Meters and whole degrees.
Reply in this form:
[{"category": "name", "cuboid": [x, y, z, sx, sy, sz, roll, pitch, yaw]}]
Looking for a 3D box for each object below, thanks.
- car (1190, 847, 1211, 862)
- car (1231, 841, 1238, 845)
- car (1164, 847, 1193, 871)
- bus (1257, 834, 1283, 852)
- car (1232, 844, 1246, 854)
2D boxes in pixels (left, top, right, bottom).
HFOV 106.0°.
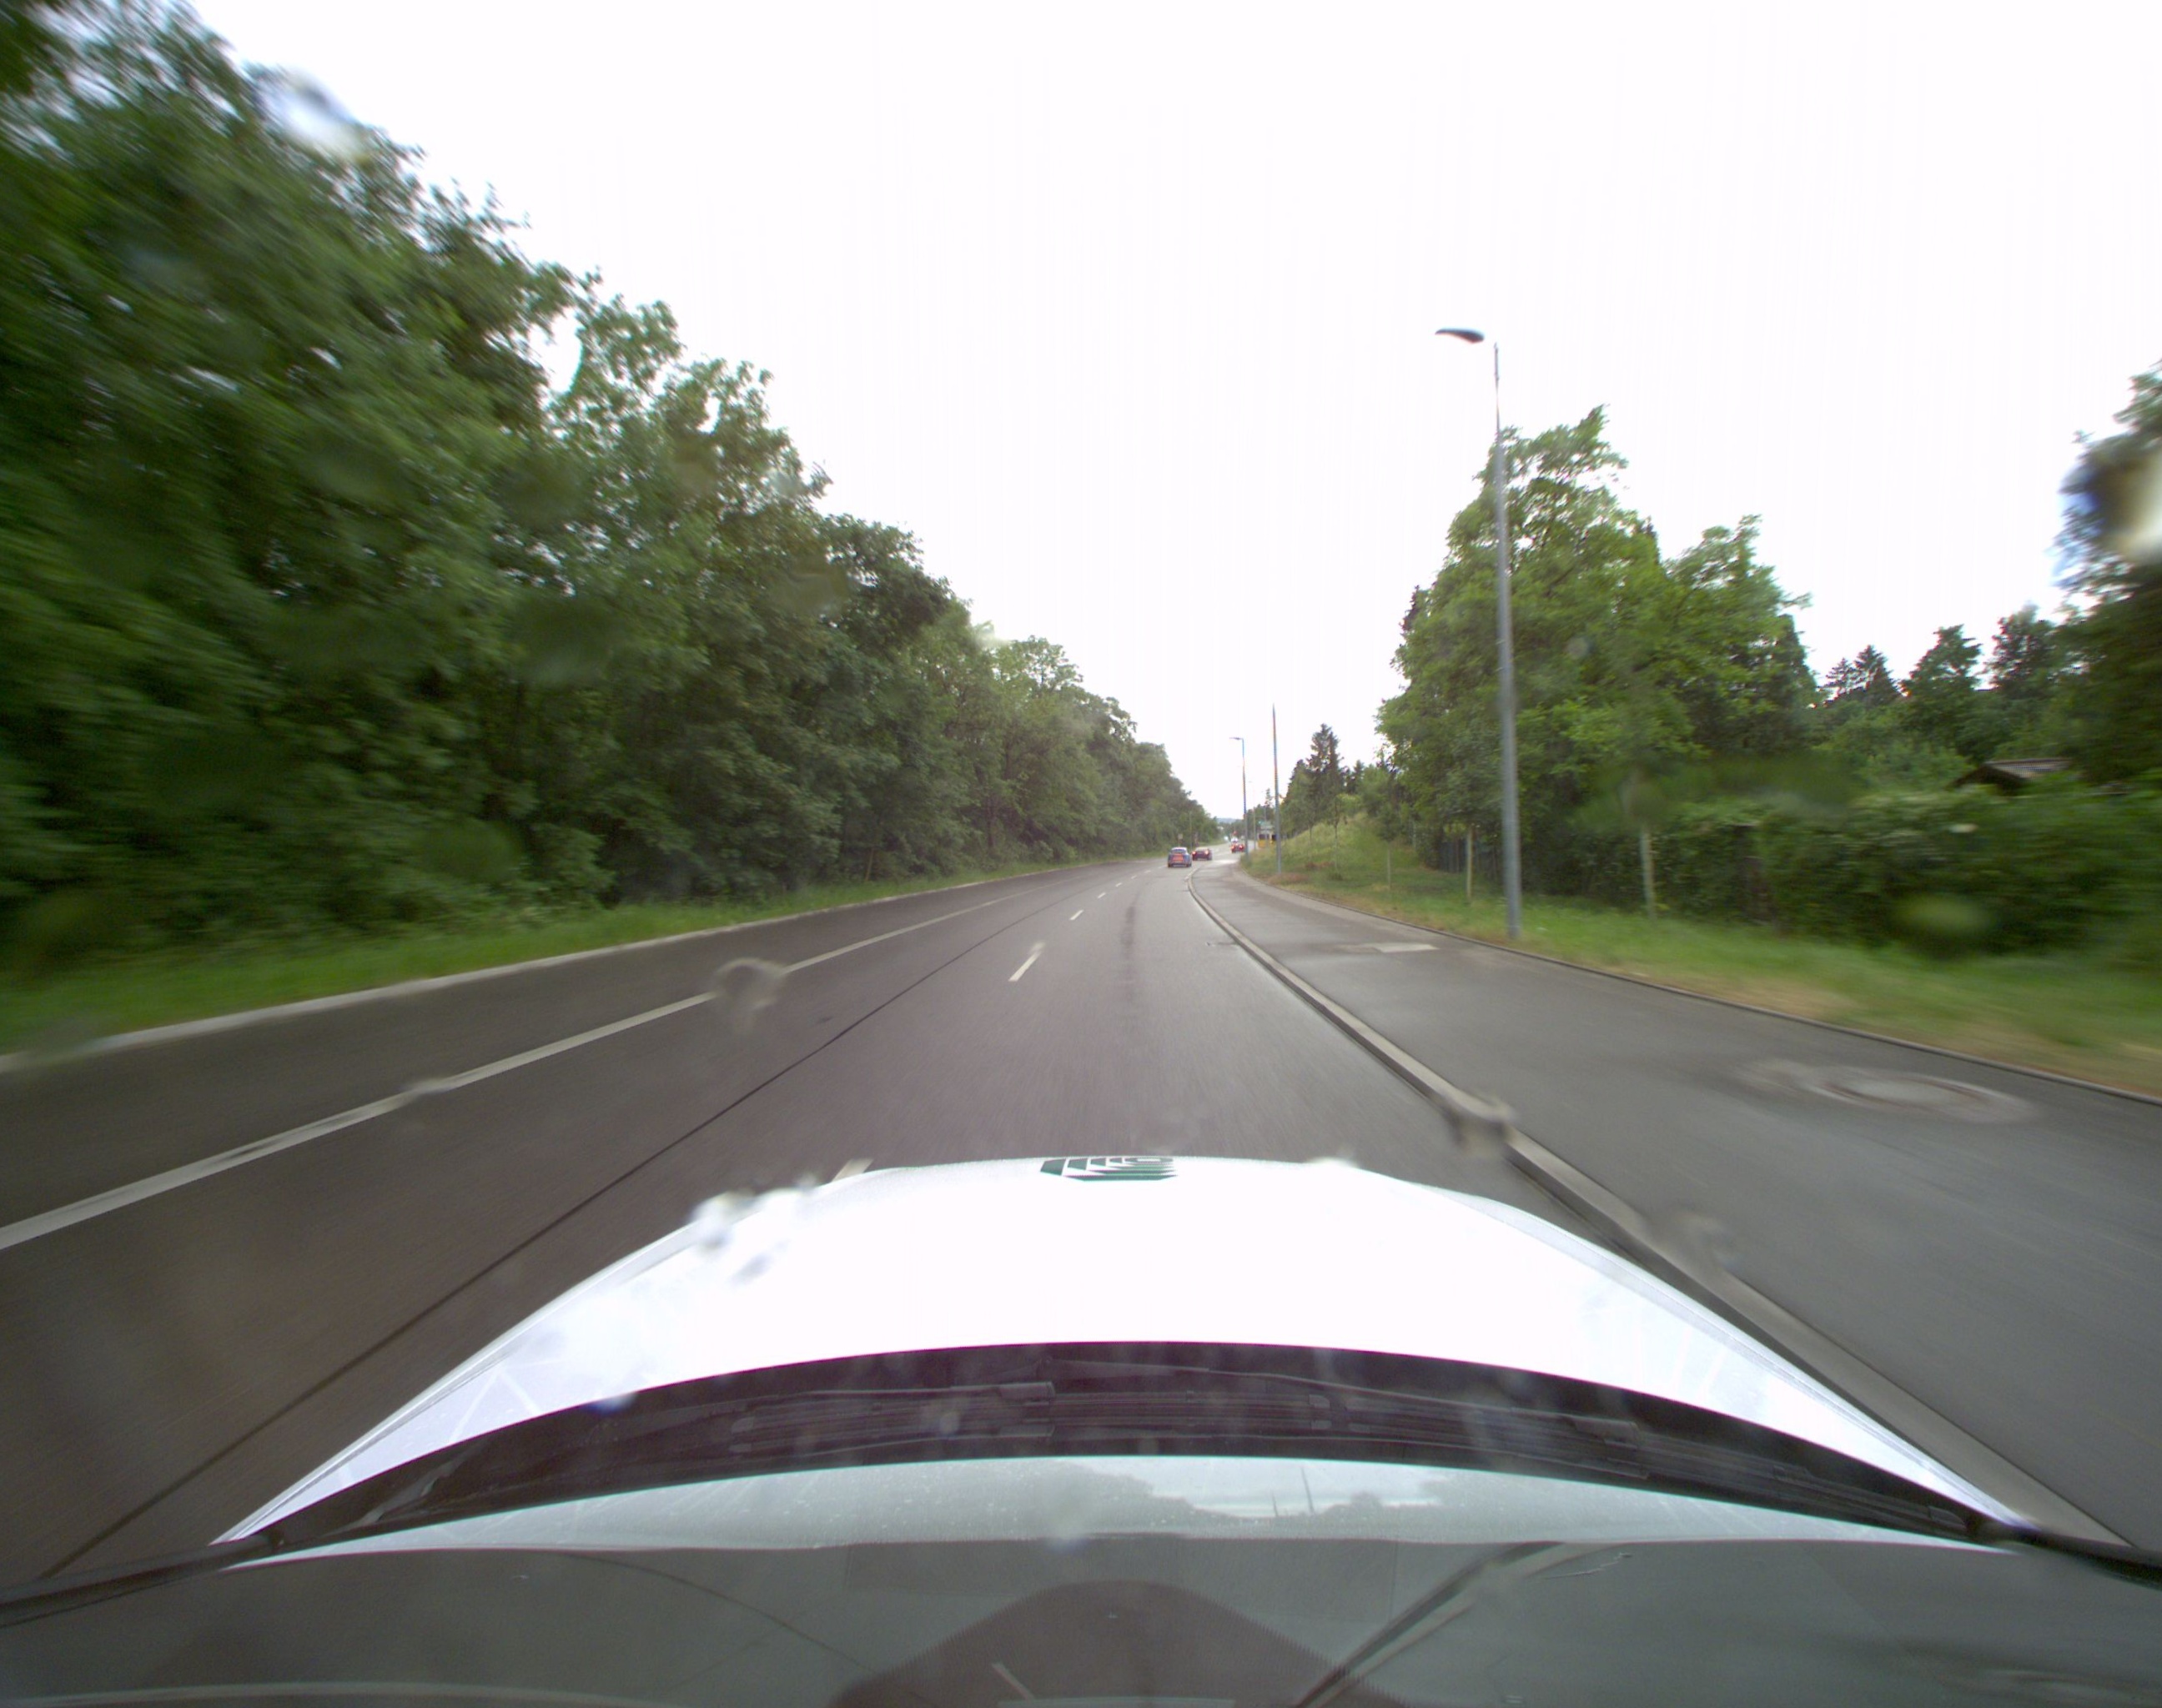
[{"category": "car", "cuboid": [12.923, 0.028, 88.054, 1.914, 1.486, 3.812, -3, 1, 12]}, {"category": "car", "cuboid": [46.852, -3.381, 248.971, 1.982, 1.420, 4.010, -1, 0, 9]}, {"category": "car", "cuboid": [7.970, 0.379, 66.091, 1.981, 1.689, 4.013, -3, 1, 11]}, {"category": "bus", "cuboid": [34.481, -2.079, 148.656, 2.791, 3.142, 9.233, -1, 0, 24]}, {"category": "car", "cuboid": [24.942, -0.769, 128.640, 1.979, 1.552, 4.015, -1, 0, 14]}]
